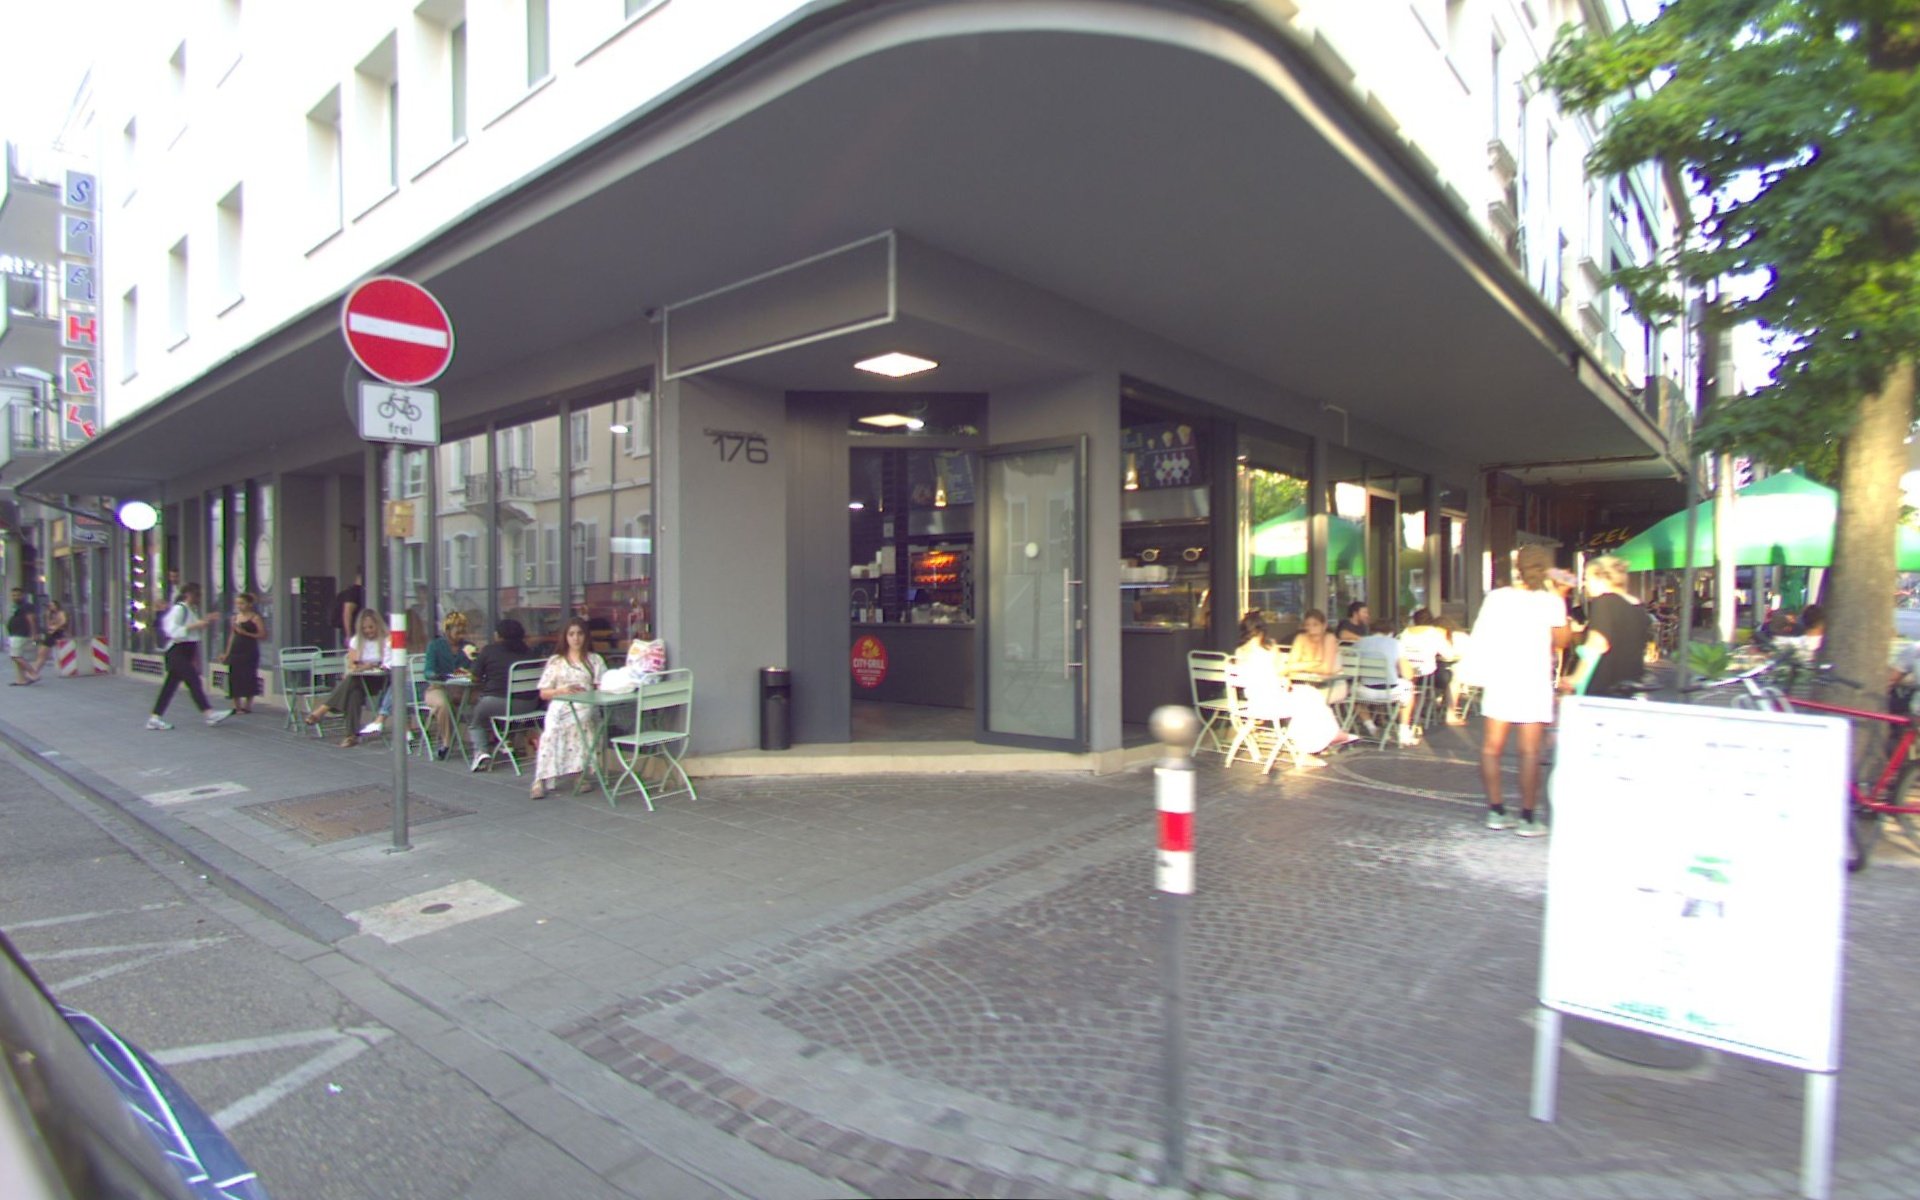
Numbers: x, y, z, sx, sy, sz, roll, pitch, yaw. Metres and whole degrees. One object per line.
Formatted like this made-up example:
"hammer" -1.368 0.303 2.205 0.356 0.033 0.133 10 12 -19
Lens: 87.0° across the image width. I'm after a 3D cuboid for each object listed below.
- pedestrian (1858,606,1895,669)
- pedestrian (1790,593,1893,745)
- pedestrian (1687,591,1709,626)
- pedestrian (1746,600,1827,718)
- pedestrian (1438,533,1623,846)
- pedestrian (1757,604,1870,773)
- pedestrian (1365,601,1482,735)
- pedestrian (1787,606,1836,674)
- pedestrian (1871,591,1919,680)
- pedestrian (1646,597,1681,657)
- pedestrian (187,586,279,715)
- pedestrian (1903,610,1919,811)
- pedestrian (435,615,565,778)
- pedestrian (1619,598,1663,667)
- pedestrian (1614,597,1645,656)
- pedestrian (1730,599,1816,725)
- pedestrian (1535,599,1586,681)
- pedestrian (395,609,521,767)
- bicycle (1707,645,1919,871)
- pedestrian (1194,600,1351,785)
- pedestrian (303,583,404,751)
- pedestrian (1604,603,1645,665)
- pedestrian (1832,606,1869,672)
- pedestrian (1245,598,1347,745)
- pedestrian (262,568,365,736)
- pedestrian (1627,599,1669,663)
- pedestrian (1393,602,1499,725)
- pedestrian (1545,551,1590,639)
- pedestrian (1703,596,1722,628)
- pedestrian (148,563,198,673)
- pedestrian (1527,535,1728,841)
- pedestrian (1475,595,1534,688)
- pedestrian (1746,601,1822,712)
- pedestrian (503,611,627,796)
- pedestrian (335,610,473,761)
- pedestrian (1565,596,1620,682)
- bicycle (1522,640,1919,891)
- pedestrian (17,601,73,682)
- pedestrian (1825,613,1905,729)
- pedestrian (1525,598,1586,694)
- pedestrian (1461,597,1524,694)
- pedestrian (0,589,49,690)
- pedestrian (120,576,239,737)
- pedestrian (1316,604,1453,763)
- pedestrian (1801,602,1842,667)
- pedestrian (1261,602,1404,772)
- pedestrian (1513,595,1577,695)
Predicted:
"pedestrian" 19.013 0.762 21.009 0.553 1.276 0.633 1 -1 41
"pedestrian" 8.486 0.630 9.749 0.718 1.372 0.859 1 0 42
"pedestrian" 31.107 0.351 42.658 0.612 1.444 0.504 4 2 43
"pedestrian" 10.183 0.699 12.463 0.718 1.372 0.911 1 0 42
"pedestrian" 3.386 0.497 6.071 0.773 1.754 0.639 1 0 10
"pedestrian" 7.489 0.729 8.876 0.718 1.372 0.911 1 0 42
"pedestrian" 4.906 0.684 10.718 0.888 1.330 0.869 1 -1 44
"pedestrian" 16.418 0.753 19.521 0.710 1.274 0.592 1 -1 41
"pedestrian" 15.024 0.553 16.253 0.549 1.389 0.557 1 -1 41
"pedestrian" 16.577 0.623 23.845 0.607 1.389 0.639 1 -1 41
"pedestrian" -9.207 0.624 12.827 0.632 1.581 0.655 -1 1 15
"pedestrian" 7.111 0.768 7.106 0.695 1.387 0.781 1 0 42
"pedestrian" -3.739 0.745 8.223 0.691 1.204 0.696 -1 3 44
"pedestrian" 14.151 0.656 21.026 0.656 1.389 0.755 1 -1 41
"pedestrian" 16.110 0.629 24.360 0.539 1.389 0.670 1 -1 41
"pedestrian" 9.368 0.682 11.655 0.718 1.372 0.998 1 0 42
"pedestrian" 10.616 0.692 17.891 0.656 1.389 0.755 1 -1 41
"pedestrian" -4.372 0.727 8.813 0.778 1.249 0.696 -1 3 44
"bicycle" 5.276 0.860 5.565 1.864 1.147 0.618 1 0 38
"pedestrian" 2.464 0.678 7.976 0.888 1.330 0.869 1 -1 44
"pedestrian" -5.991 0.622 9.988 0.695 1.559 0.862 -1 0 -42
"pedestrian" 15.290 0.765 23.299 0.692 1.389 0.755 1 -1 41
"pedestrian" 19.349 0.836 22.005 0.581 1.389 0.557 1 -1 41
"pedestrian" 3.216 0.654 9.684 0.624 1.330 0.830 1 -1 43
"pedestrian" -7.382 0.566 11.554 0.932 1.824 0.707 -1 1 41
"pedestrian" 14.835 0.663 21.816 0.656 1.341 0.755 1 -1 41
"pedestrian" 5.567 0.692 11.589 0.851 1.330 0.869 1 -1 44
"pedestrian" 12.542 -0.104 20.912 0.652 1.779 0.760 1 0 22
"pedestrian" 30.521 0.474 41.043 0.512 1.251 0.652 4 2 40
"pedestrian" -13.386 0.307 17.218 0.613 1.824 0.538 -1 -2 40
"pedestrian" 4.027 0.508 6.155 0.770 1.754 0.642 1 0 -2
"pedestrian" 8.419 0.628 15.649 0.656 1.389 0.755 1 -1 41
"pedestrian" 10.815 0.712 13.278 0.718 1.372 0.998 1 0 42
"pedestrian" -2.821 0.703 7.301 0.694 1.228 0.844 -1 0 -12
"pedestrian" -5.058 0.749 9.230 0.853 1.296 0.702 -1 0 17
"pedestrian" 10.502 0.634 16.801 0.656 1.389 0.755 1 -1 41
"bicycle" 4.148 0.822 5.392 1.848 1.147 0.777 1 0 13
"pedestrian" -18.423 0.818 20.374 0.612 1.590 0.702 -1 1 37
"pedestrian" 11.358 0.852 12.708 0.718 1.372 0.998 1 0 42
"pedestrian" 8.944 0.668 15.197 0.656 1.389 0.755 1 -1 41
"pedestrian" 7.863 0.655 14.945 0.656 1.389 0.755 1 -1 41
"pedestrian" -17.356 0.709 18.659 0.932 1.795 0.697 -1 0 40
"pedestrian" -8.910 0.625 11.588 0.772 1.752 0.761 -2 0 -10
"pedestrian" 3.849 0.714 9.168 0.888 1.330 0.869 1 -1 44
"pedestrian" 18.365 0.721 21.570 0.646 1.356 0.721 1 -1 42
"pedestrian" 3.153 0.690 8.564 0.851 1.330 0.869 1 -1 44
"pedestrian" 8.370 0.624 14.483 0.656 1.389 0.755 1 -1 41
